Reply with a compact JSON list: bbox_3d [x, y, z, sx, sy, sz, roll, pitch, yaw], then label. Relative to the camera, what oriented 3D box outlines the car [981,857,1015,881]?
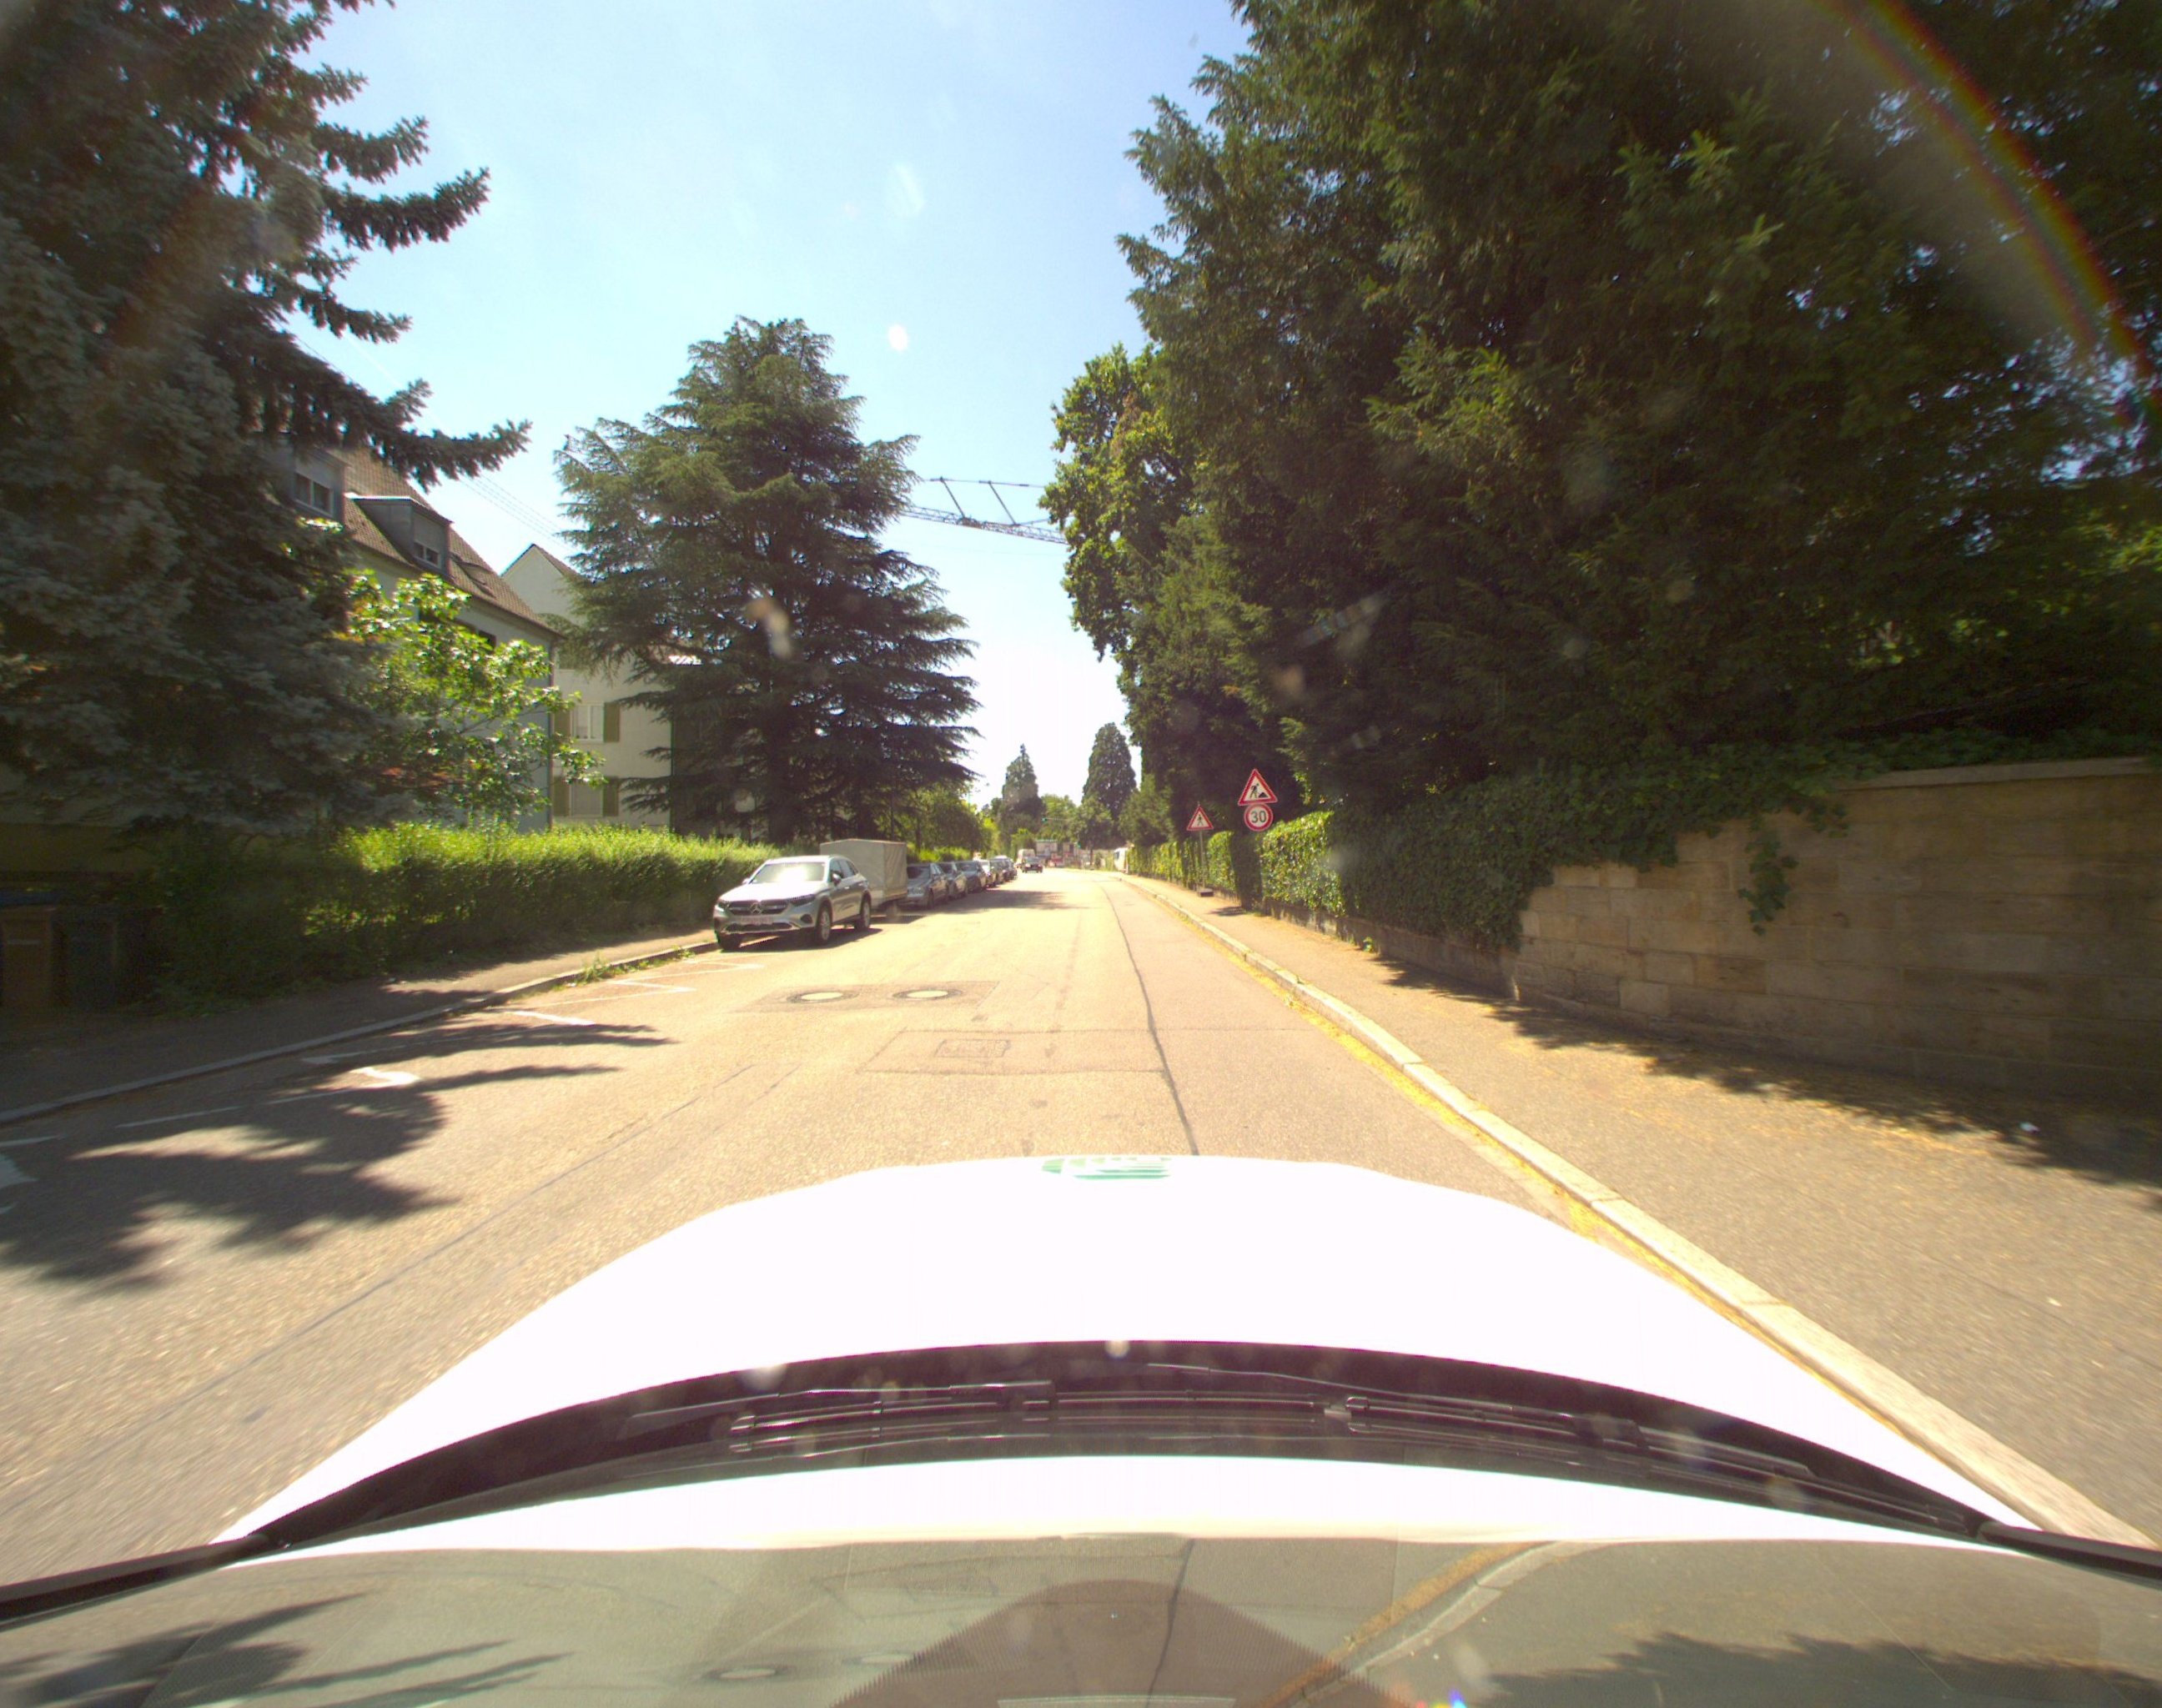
[{"bbox_3d":[-5.391,0.954,53.206,1.682,1.444,4.137,-2,0,1],"label":"car"}]

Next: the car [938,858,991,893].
[{"bbox_3d":[-5.299,0.948,37.437,1.682,1.444,4.137,-2,0,1],"label":"car"}]

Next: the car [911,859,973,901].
[{"bbox_3d":[-5.294,0.957,31.466,1.577,1.390,3.884,-3,0,1],"label":"car"}]

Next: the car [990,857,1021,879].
[{"bbox_3d":[-5.390,0.972,58.547,1.682,1.444,4.137,-2,0,1],"label":"car"}]

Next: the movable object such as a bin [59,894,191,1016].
[{"bbox_3d":[-9.115,0.943,7.787,0.484,1.065,0.616,3,0,-1],"label":"movable object such as a bin"}]

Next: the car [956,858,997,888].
[{"bbox_3d":[-5.451,0.965,42.988,1.684,1.449,3.998,-1,0,-1],"label":"car"}]

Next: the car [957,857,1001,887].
[{"bbox_3d":[-5.387,0.927,43.405,1.682,1.444,4.137,-2,0,1],"label":"car"}]

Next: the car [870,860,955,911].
[{"bbox_3d":[-5.328,0.952,26.304,1.703,1.439,4.323,-3,0,1],"label":"car"}]

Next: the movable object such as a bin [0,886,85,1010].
[{"bbox_3d":[-10.159,0.877,7.738,0.537,1.082,0.645,3,0,-1],"label":"movable object such as a bin"}]

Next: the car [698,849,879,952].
[{"bbox_3d":[-5.520,0.794,16.125,1.845,1.671,4.711,-3,0,-1],"label":"car"}]

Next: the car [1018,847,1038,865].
[{"bbox_3d":[-7.162,0.288,109.645,2.142,2.315,4.839,-2,0,-8],"label":"car"}]

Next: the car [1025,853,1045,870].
[{"bbox_3d":[-4.542,0.756,81.064,1.847,1.584,4.132,-2,0,-2],"label":"car"}]

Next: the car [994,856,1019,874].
[{"bbox_3d":[-6.482,0.957,71.279,1.682,1.444,4.137,-2,0,1],"label":"car"}]

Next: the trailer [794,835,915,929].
[{"bbox_3d":[-5.556,0.641,20.563,1.842,2.040,4.162,-3,0,-1],"label":"trailer"}]

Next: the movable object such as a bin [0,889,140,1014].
[{"bbox_3d":[-9.598,0.905,7.752,0.484,1.082,0.642,3,0,-1],"label":"movable object such as a bin"}]
